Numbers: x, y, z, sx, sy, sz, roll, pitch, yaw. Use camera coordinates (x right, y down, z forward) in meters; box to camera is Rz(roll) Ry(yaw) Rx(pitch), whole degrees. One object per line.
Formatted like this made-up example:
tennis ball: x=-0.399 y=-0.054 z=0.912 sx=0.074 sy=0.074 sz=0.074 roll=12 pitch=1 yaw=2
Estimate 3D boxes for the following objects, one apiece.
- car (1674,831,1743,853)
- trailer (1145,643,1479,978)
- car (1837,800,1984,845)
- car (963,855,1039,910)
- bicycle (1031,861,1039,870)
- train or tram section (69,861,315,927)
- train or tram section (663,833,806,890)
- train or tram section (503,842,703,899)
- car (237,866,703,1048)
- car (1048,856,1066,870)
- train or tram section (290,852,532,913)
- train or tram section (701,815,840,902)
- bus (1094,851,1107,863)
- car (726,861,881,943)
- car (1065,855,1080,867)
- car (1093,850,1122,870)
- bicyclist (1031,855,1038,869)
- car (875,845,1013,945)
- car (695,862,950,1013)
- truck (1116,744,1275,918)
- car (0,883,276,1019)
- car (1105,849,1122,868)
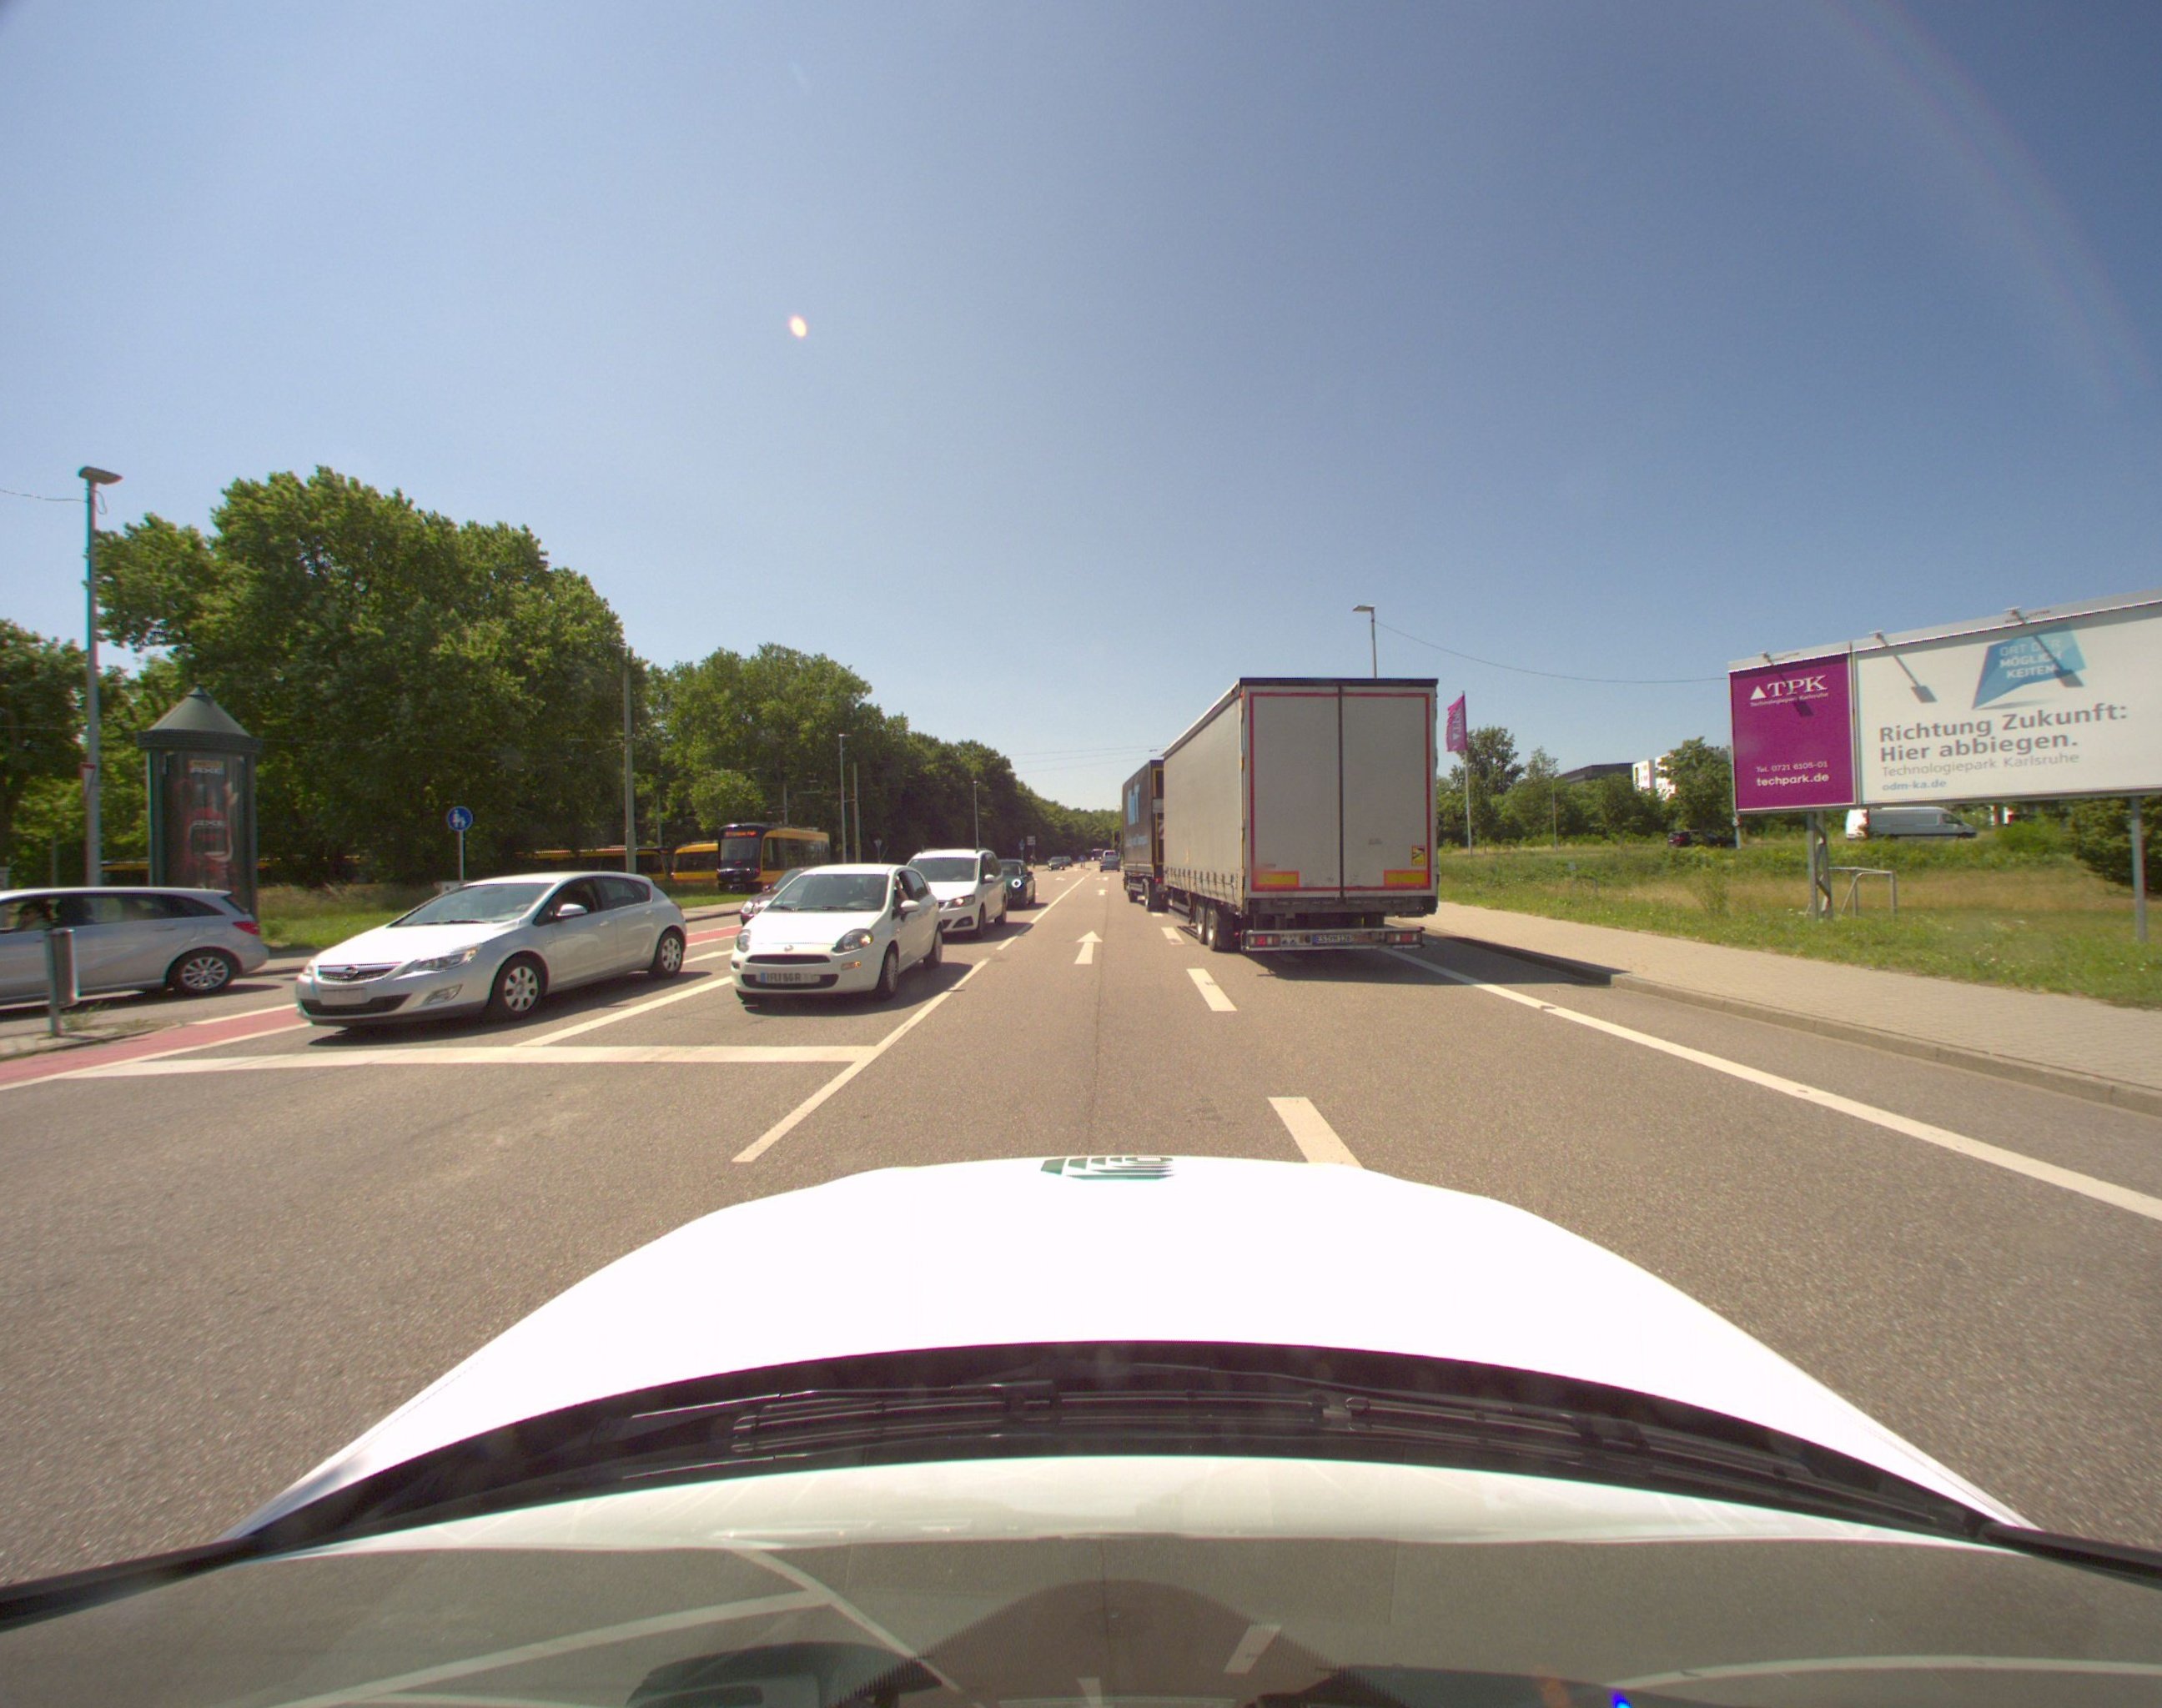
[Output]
car: x=45.428 y=-0.889 z=59.039 sx=3.596 sy=1.533 sz=1.710 roll=0 pitch=0 yaw=7
trailer: x=3.222 y=-0.540 z=14.848 sx=3.069 sy=4.069 sz=9.802 roll=0 pitch=0 yaw=-2
car: x=57.961 y=-2.179 z=57.080 sx=6.785 sy=2.802 sz=2.677 roll=-1 pitch=-1 yaw=12
car: x=-2.323 y=0.803 z=24.620 sx=1.716 sy=1.462 sz=3.992 roll=-1 pitch=0 yaw=2
bicycle: x=-5.498 y=1.325 z=96.751 sx=0.666 sy=1.055 sz=2.047 roll=-1 pitch=0 yaw=4
train or tram section: x=-63.518 y=2.757 z=58.726 sx=11.468 sy=3.759 sz=2.999 roll=-3 pitch=0 yaw=-27
train or tram section: x=-27.009 y=0.664 z=62.932 sx=13.865 sy=3.759 sz=3.046 roll=-3 pitch=0 yaw=34
train or tram section: x=-38.909 y=1.317 z=66.700 sx=14.113 sy=3.759 sz=3.023 roll=-3 pitch=0 yaw=-3
car: x=-6.384 y=0.939 z=9.336 sx=1.784 sy=1.455 sz=4.416 roll=-2 pitch=0 yaw=3
car: x=-2.547 y=0.983 z=88.413 sx=1.616 sy=1.456 sz=3.503 roll=-3 pitch=0 yaw=2
train or tram section: x=-52.016 y=2.100 z=63.951 sx=14.202 sy=3.759 sz=3.004 roll=-3 pitch=0 yaw=-21
train or tram section: x=-15.957 y=0.190 z=43.335 sx=3.010 sy=3.759 sz=12.976 roll=-3 pitch=0 yaw=-4
bus: x=5.638 y=0.802 z=231.755 sx=2.738 sy=3.044 sz=11.951 roll=-7 pitch=0 yaw=4
car: x=-5.834 y=0.943 z=17.720 sx=1.753 sy=1.457 sz=4.287 roll=-2 pitch=0 yaw=1
car: x=-1.115 y=0.967 z=108.980 sx=1.736 sy=1.405 sz=4.445 roll=-4 pitch=1 yaw=3
car: x=2.308 y=0.523 z=70.123 sx=2.014 sy=1.632 sz=4.010 roll=-2 pitch=0 yaw=9
bicyclist: x=-5.499 y=0.954 z=96.753 sx=0.662 sy=1.706 sz=0.770 roll=-1 pitch=0 yaw=3
car: x=-2.632 y=0.713 z=16.823 sx=1.804 sy=1.723 sz=4.834 roll=-1 pitch=0 yaw=2
car: x=-2.859 y=0.839 z=9.991 sx=1.761 sy=1.438 sz=3.962 roll=-1 pitch=0 yaw=1
truck: x=2.887 y=-0.552 z=23.181 sx=3.069 sy=4.069 sz=7.952 roll=-1 pitch=0 yaw=-2
car: x=-13.511 y=1.220 z=10.376 sx=1.725 sy=1.546 sz=4.281 roll=-2 pitch=-1 yaw=24
car: x=3.449 y=0.483 z=85.711 sx=1.648 sy=1.907 sz=4.005 roll=-2 pitch=0 yaw=4
